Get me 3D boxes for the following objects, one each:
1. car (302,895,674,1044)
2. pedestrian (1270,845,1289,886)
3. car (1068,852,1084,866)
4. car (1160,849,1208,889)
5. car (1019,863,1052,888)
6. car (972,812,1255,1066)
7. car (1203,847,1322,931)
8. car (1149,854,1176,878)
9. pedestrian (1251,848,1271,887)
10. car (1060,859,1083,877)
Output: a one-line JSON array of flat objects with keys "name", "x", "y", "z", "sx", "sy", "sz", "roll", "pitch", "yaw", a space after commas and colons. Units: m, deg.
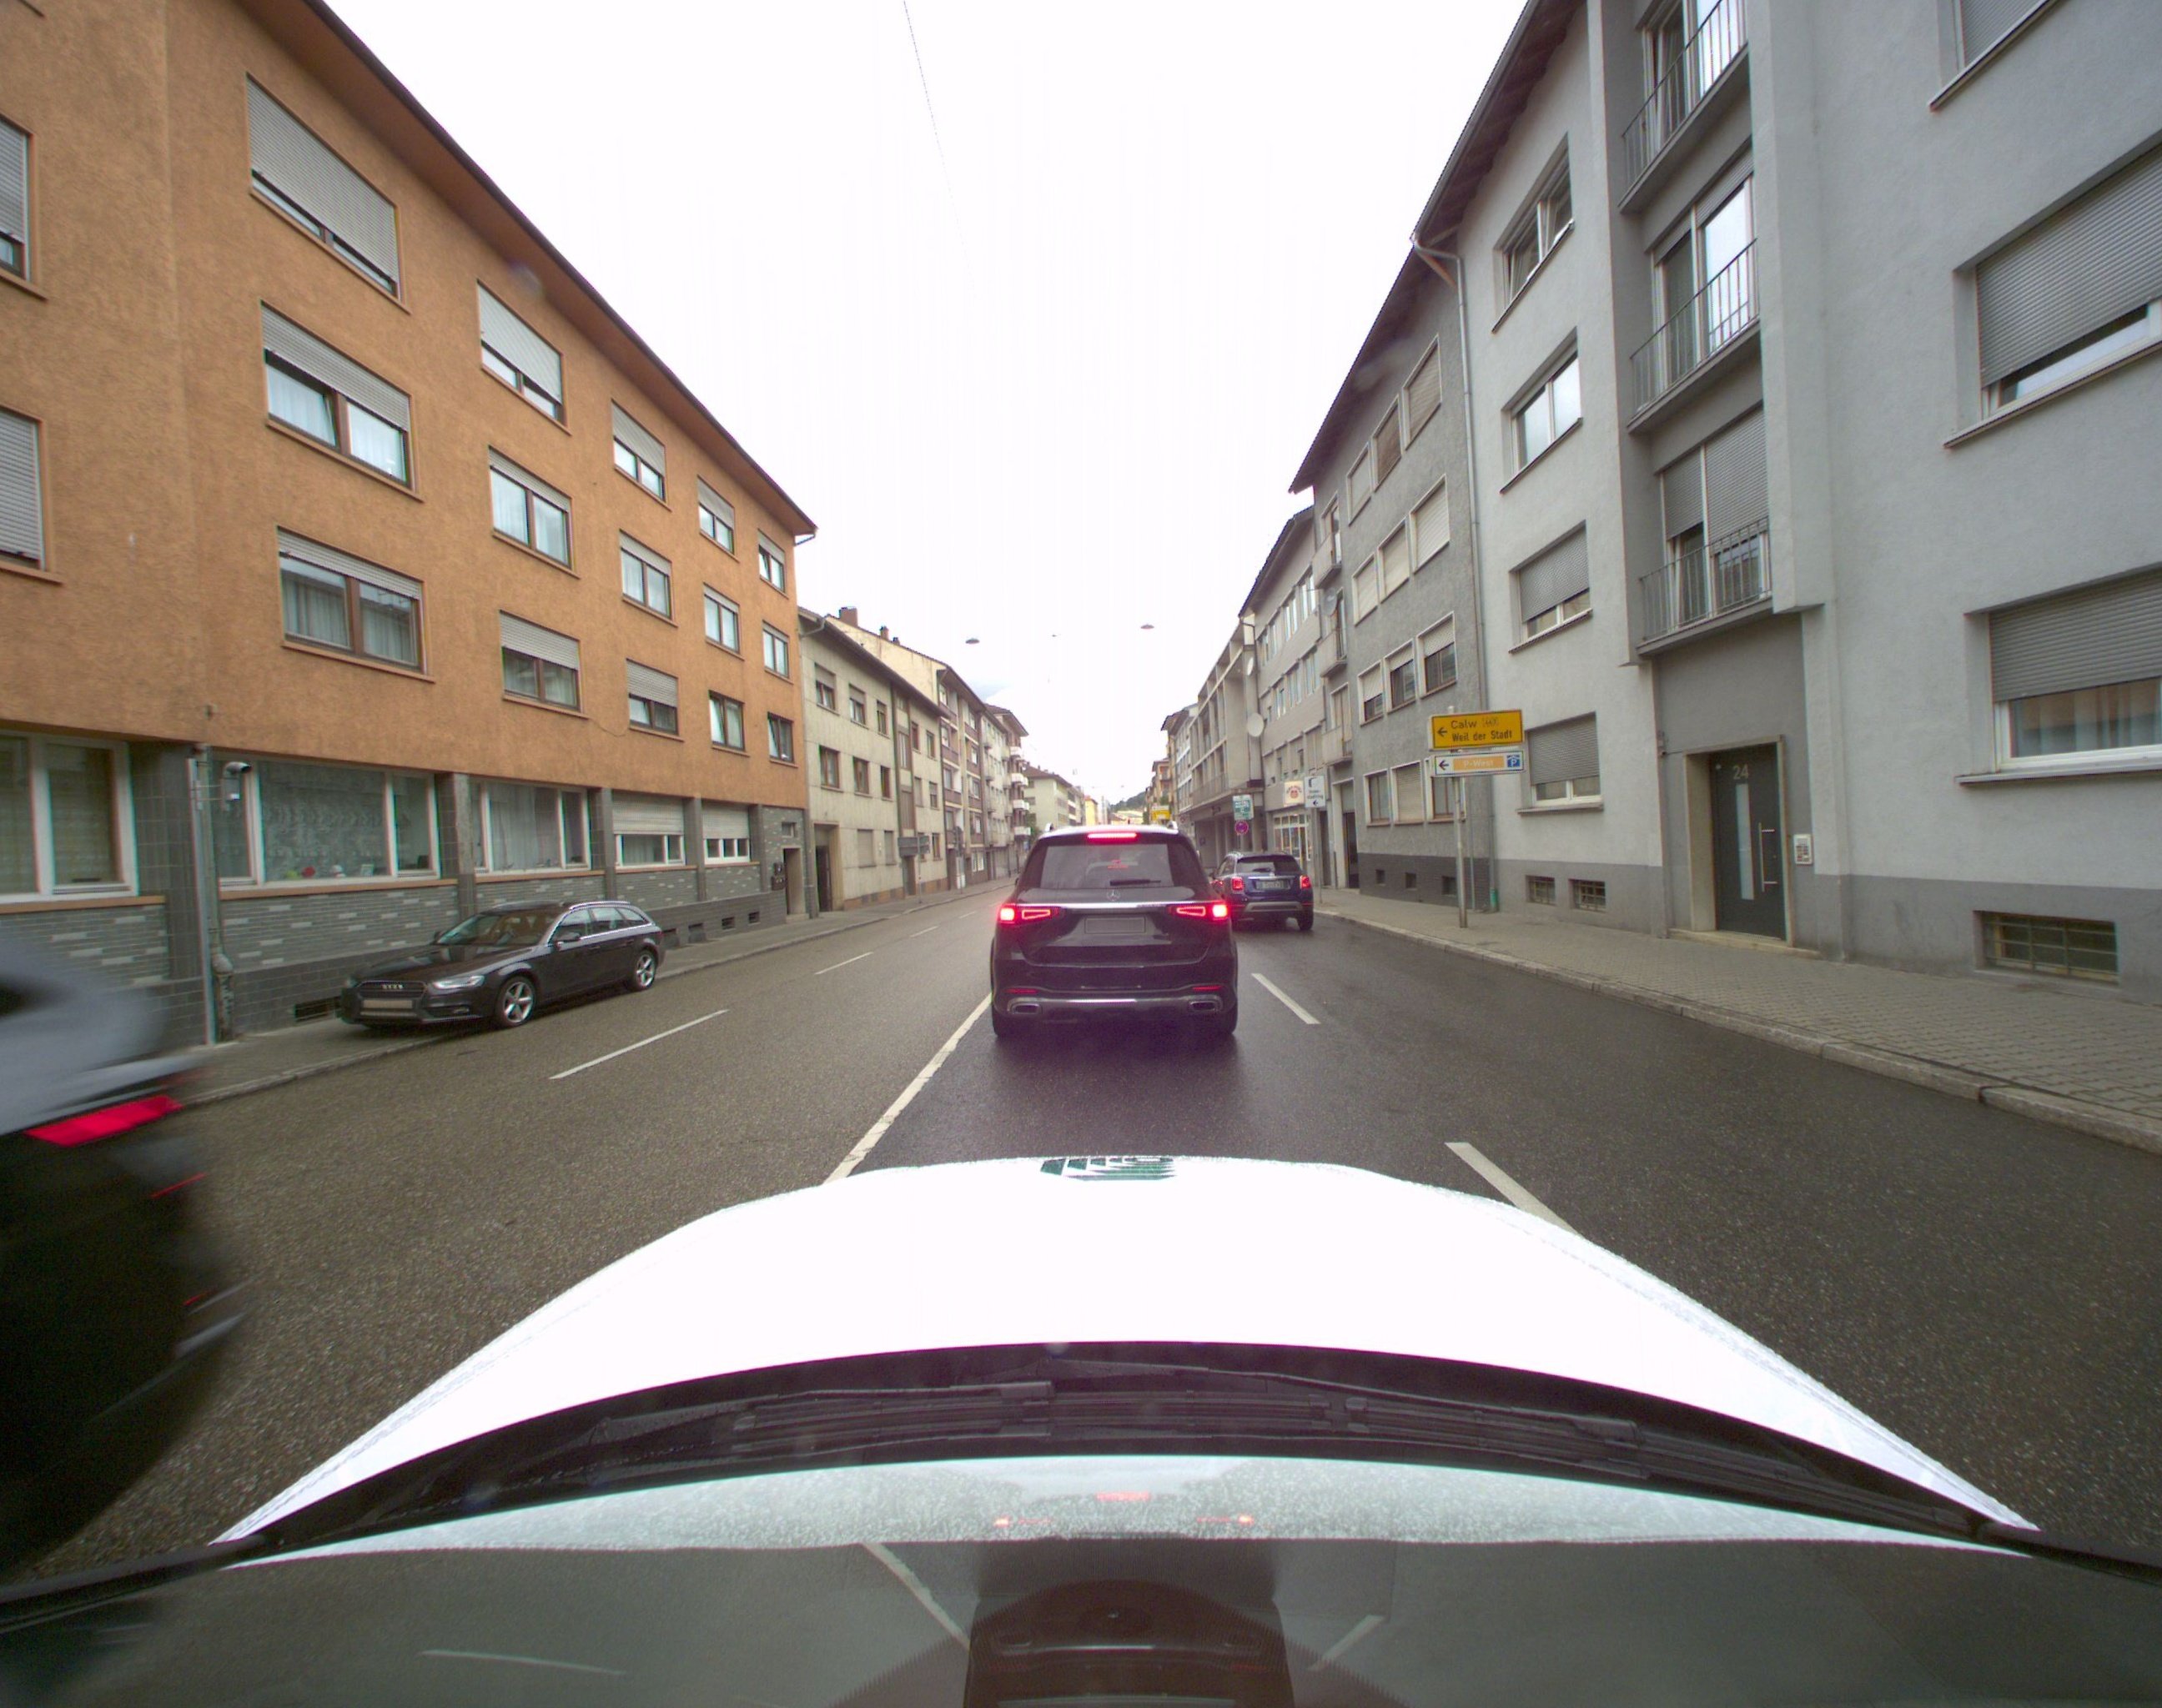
[{"name": "car", "x": -7.746, "y": 1.404, "z": 11.346, "sx": 1.789, "sy": 1.438, "sz": 4.528, "roll": 0, "pitch": 0, "yaw": 1}, {"name": "pedestrian", "x": 7.828, "y": 0.454, "z": 32.149, "sx": 0.557, "sy": 1.578, "sz": 0.527, "roll": -5, "pitch": 0, "yaw": 7}, {"name": "car", "x": -0.639, "y": 0.611, "z": 104.211, "sx": 1.727, "sy": 1.575, "sz": 4.012, "roll": -6, "pitch": 0, "yaw": 1}, {"name": "car", "x": 4.909, "y": 0.669, "z": 39.334, "sx": 1.932, "sy": 1.775, "sz": 4.750, "roll": -1, "pitch": 0, "yaw": 3}, {"name": "car", "x": -2.986, "y": 1.400, "z": 53.755, "sx": 1.761, "sy": 1.346, "sz": 3.889, "roll": -6, "pitch": 0, "yaw": 1}, {"name": "car", "x": 0.277, "y": 0.609, "z": 7.829, "sx": 2.018, "sy": 1.806, "sz": 4.001, "roll": 0, "pitch": 0, "yaw": 1}, {"name": "car", "x": 3.804, "y": 0.681, "z": 17.698, "sx": 1.760, "sy": 1.580, "sz": 4.002, "roll": -2, "pitch": 0, "yaw": 2}, {"name": "car", "x": 5.881, "y": 0.838, "z": 59.128, "sx": 1.800, "sy": 1.606, "sz": 4.216, "roll": -1, "pitch": 0, "yaw": 4}, {"name": "pedestrian", "x": 7.117, "y": 0.535, "z": 32.209, "sx": 0.505, "sy": 1.500, "sz": 0.562, "roll": -5, "pitch": 0, "yaw": 0}, {"name": "car", "x": -0.779, "y": 1.159, "z": 69.875, "sx": 1.718, "sy": 1.390, "sz": 4.341, "roll": -4, "pitch": 0, "yaw": 2}]
